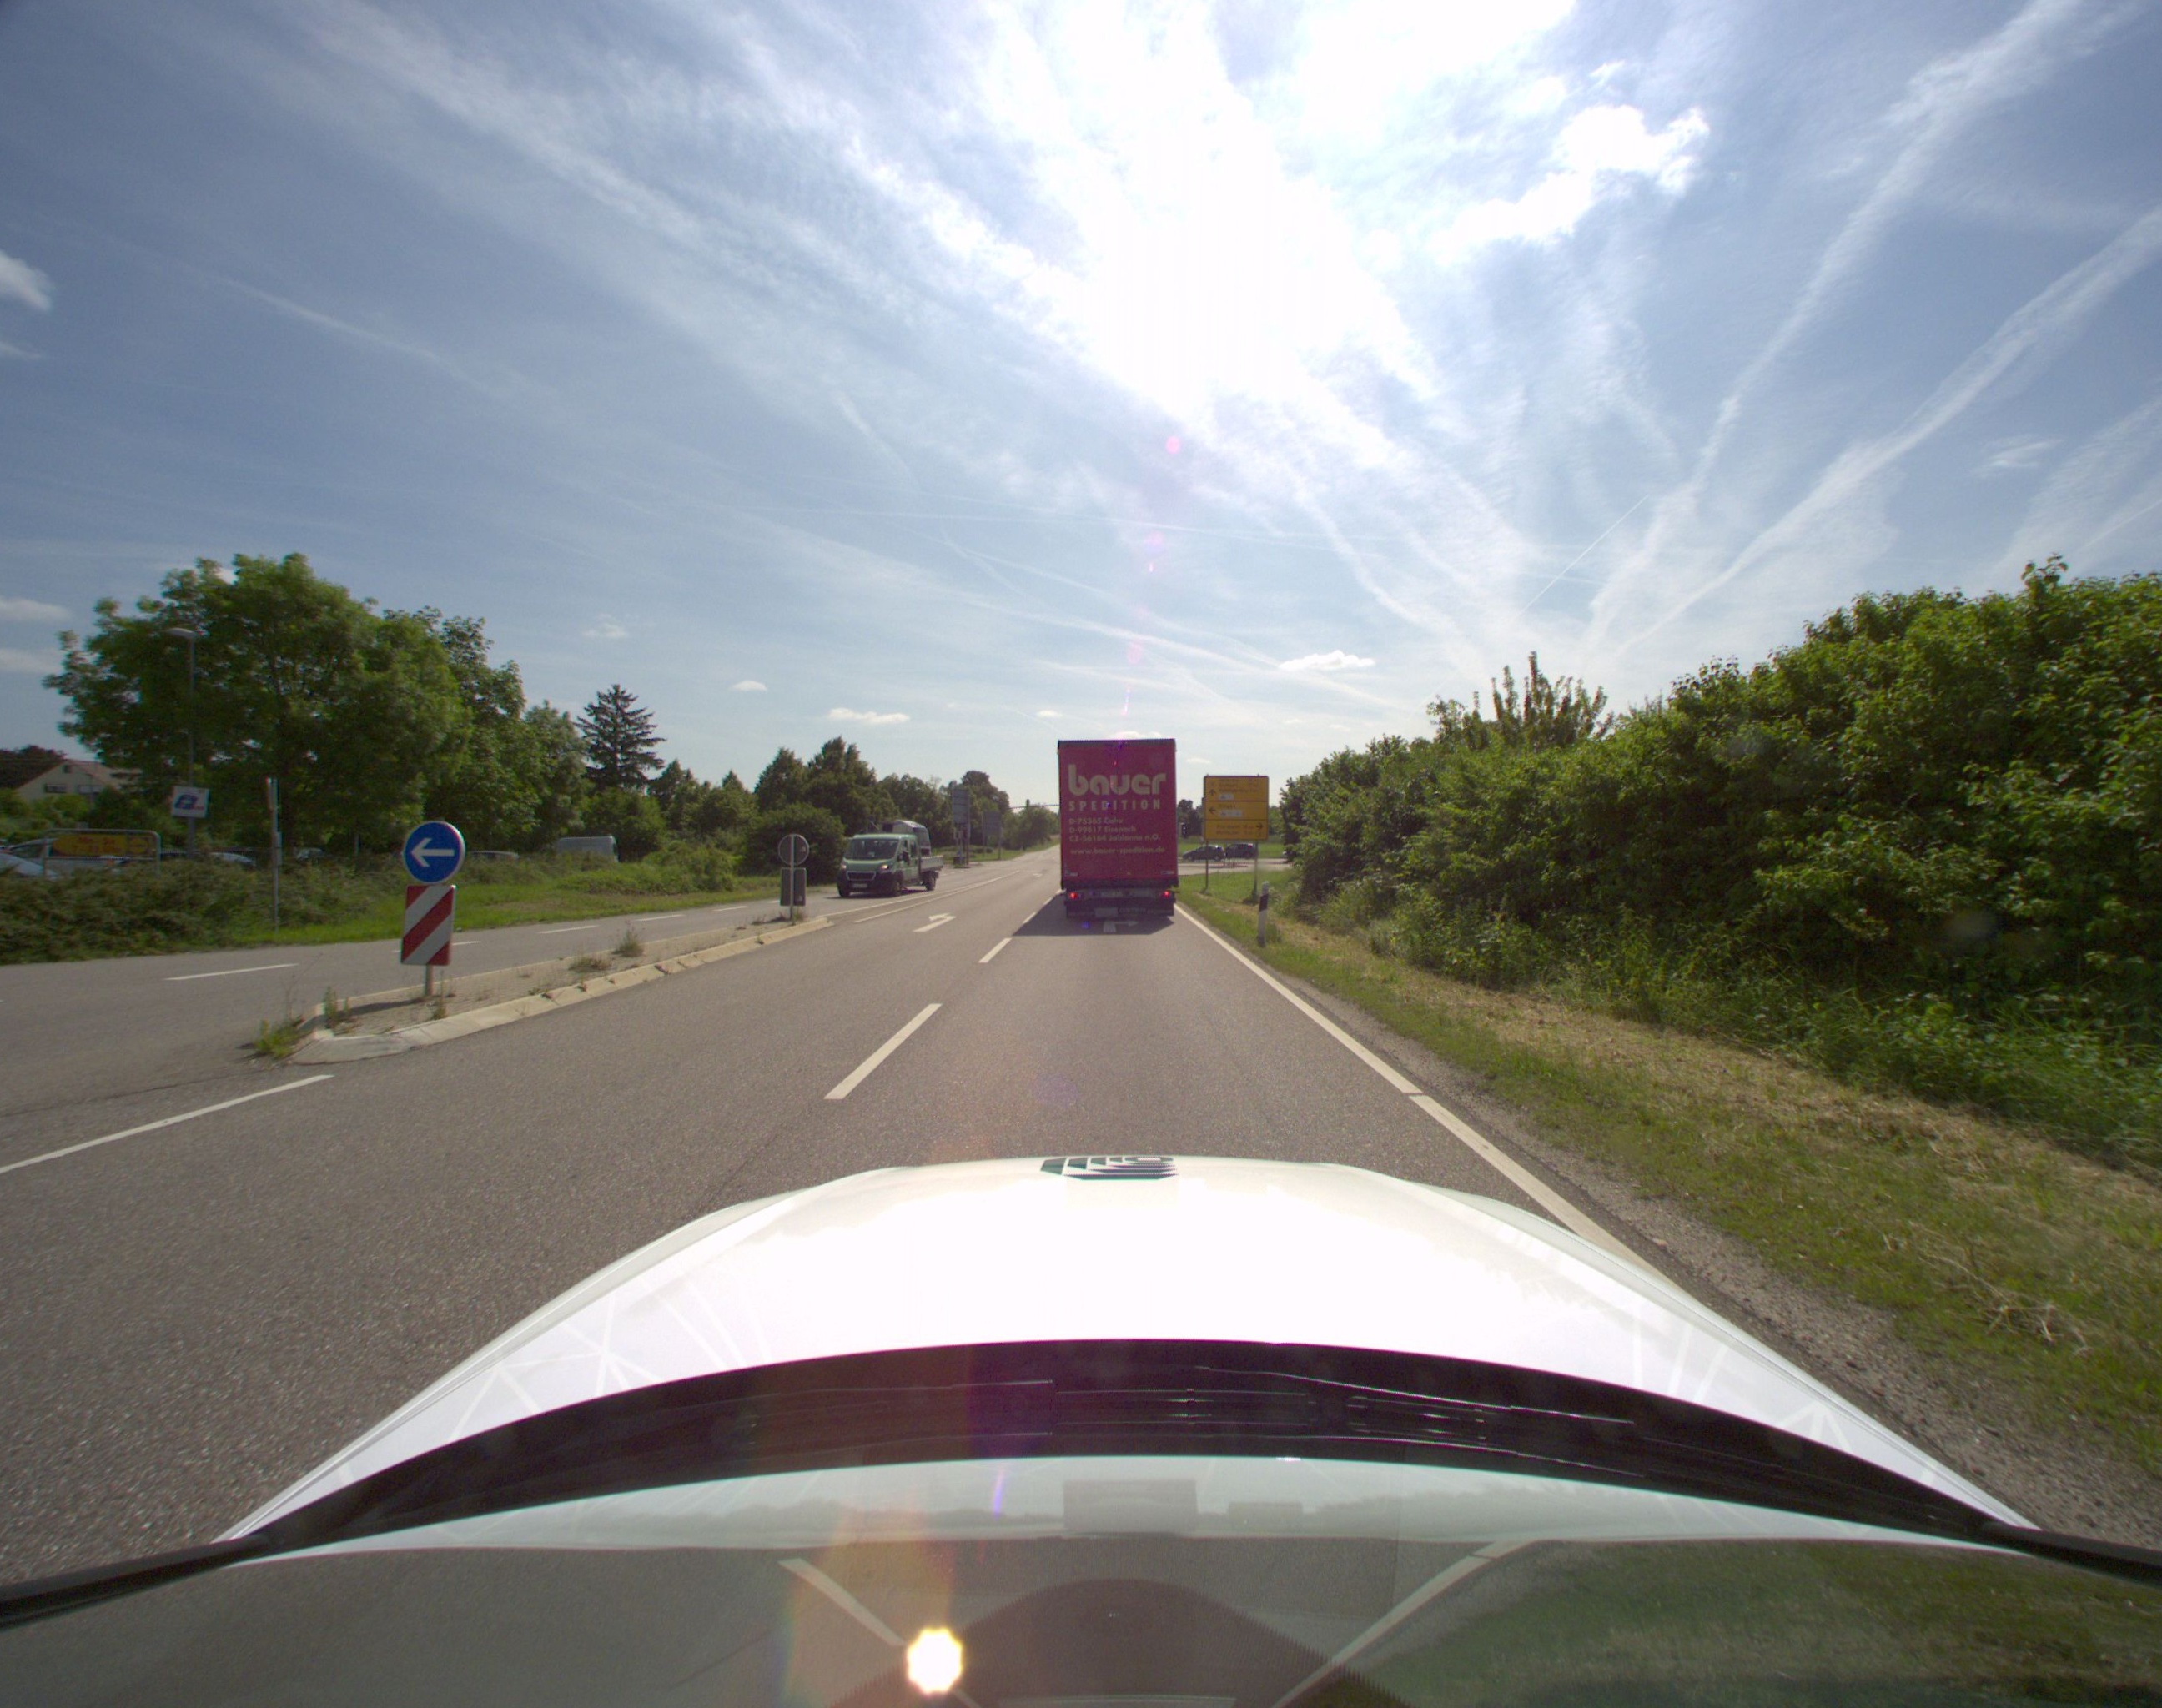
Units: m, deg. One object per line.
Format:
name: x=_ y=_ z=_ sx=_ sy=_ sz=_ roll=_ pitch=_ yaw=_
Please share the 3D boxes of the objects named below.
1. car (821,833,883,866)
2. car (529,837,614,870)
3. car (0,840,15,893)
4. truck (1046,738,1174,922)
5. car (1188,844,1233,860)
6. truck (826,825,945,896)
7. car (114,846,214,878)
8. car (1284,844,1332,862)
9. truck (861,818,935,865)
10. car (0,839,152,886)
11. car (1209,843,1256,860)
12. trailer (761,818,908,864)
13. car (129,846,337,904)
car: x=-19.073 y=-0.374 z=67.615 sx=5.910 sy=2.654 sz=2.137 roll=0 pitch=0 yaw=42
car: x=-34.759 y=-0.015 z=55.737 sx=4.600 sy=2.180 sz=1.986 roll=0 pitch=0 yaw=-22
car: x=-36.152 y=0.412 z=24.819 sx=3.999 sy=1.688 sz=1.914 roll=0 pitch=-1 yaw=-19
truck: x=0.779 y=-0.613 z=25.819 sx=2.725 sy=3.925 sz=16.629 roll=-1 pitch=1 yaw=1
car: x=12.025 y=-0.163 z=75.620 sx=3.958 sy=1.429 sz=2.008 roll=0 pitch=0 yaw=14
truck: x=-7.020 y=0.197 z=30.185 sx=2.230 sy=2.375 sz=6.362 roll=0 pitch=0 yaw=6
car: x=-49.897 y=0.431 z=44.414 sx=1.913 sy=1.640 sz=3.973 roll=0 pitch=-1 yaw=-20
car: x=20.448 y=-0.094 z=73.436 sx=4.068 sy=1.547 sz=1.881 roll=0 pitch=-1 yaw=16
truck: x=-16.366 y=-1.099 z=73.088 sx=5.779 sy=4.061 sz=2.811 roll=0 pitch=1 yaw=18
car: x=-38.612 y=0.309 z=30.579 sx=4.435 sy=1.695 sz=1.984 roll=0 pitch=0 yaw=-25
car: x=14.925 y=-0.235 z=80.217 sx=4.232 sy=1.656 sz=1.711 roll=-1 pitch=-1 yaw=36
trailer: x=-22.787 y=-1.159 z=75.092 sx=13.577 sy=4.061 sz=2.811 roll=0 pitch=1 yaw=17
car: x=-25.503 y=0.610 z=24.665 sx=3.997 sy=1.657 sz=1.684 roll=0 pitch=-1 yaw=-17
